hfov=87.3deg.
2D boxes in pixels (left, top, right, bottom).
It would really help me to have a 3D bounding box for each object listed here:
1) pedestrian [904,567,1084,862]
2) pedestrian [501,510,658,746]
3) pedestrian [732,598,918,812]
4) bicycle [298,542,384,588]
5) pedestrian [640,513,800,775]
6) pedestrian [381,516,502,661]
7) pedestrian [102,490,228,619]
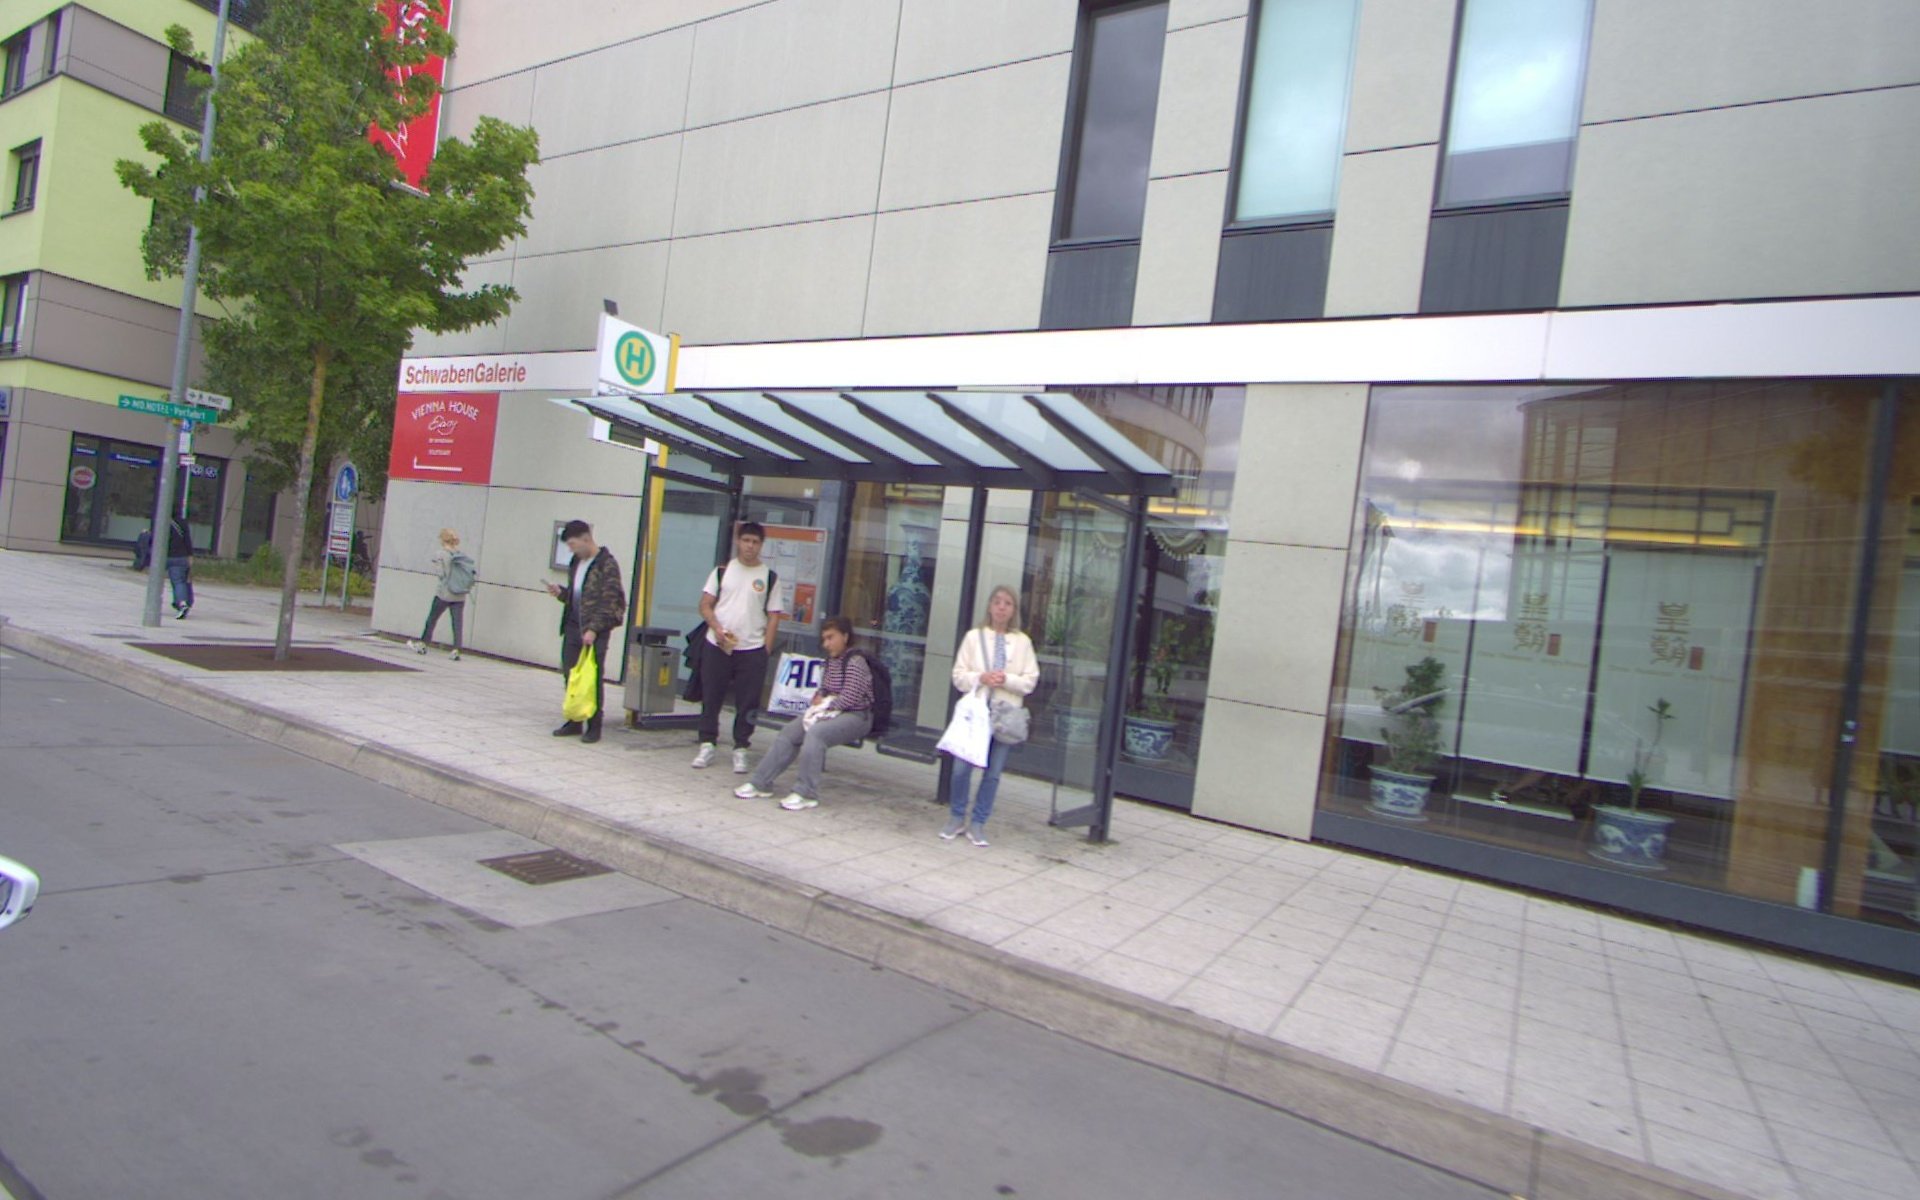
[{"bbox_3d":[0.208,0.654,6.070,0.721,1.611,0.578,7,2,37],"label":"pedestrian"},{"bbox_3d":[-2.959,0.210,7.831,0.721,1.705,0.720,7,1,37],"label":"pedestrian"},{"bbox_3d":[-0.897,0.681,6.859,0.720,1.275,0.944,7,1,28],"label":"pedestrian"},{"bbox_3d":[-17.017,-0.949,27.686,0.533,1.012,1.880,7,-1,36],"label":"bicycle"},{"bbox_3d":[-1.780,0.309,7.452,0.843,1.792,0.578,7,2,37],"label":"pedestrian"},{"bbox_3d":[-6.248,-0.126,12.149,0.791,1.603,0.870,7,0,30],"label":"pedestrian"},{"bbox_3d":[-10.942,-0.614,13.855,0.999,1.603,0.948,7,0,31],"label":"pedestrian"}]
